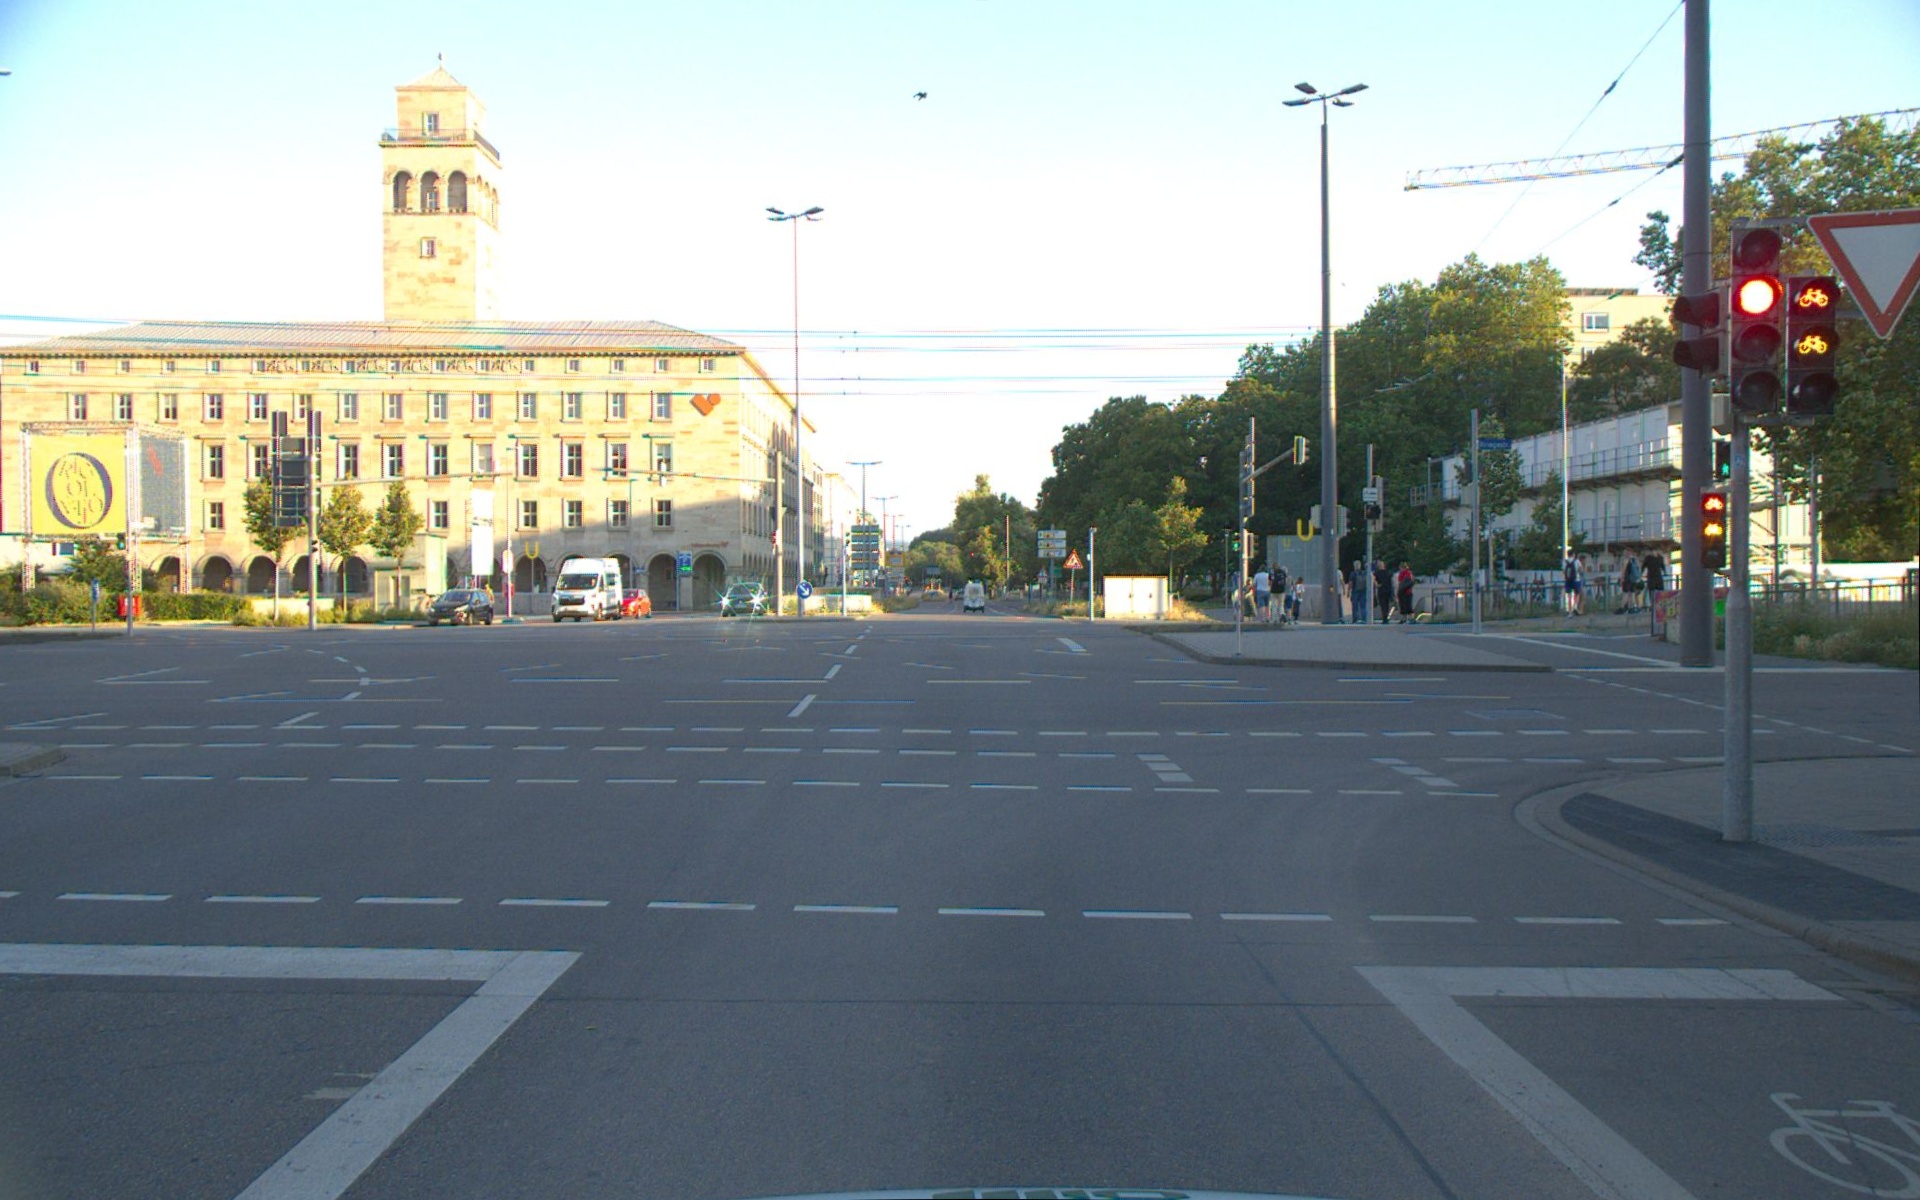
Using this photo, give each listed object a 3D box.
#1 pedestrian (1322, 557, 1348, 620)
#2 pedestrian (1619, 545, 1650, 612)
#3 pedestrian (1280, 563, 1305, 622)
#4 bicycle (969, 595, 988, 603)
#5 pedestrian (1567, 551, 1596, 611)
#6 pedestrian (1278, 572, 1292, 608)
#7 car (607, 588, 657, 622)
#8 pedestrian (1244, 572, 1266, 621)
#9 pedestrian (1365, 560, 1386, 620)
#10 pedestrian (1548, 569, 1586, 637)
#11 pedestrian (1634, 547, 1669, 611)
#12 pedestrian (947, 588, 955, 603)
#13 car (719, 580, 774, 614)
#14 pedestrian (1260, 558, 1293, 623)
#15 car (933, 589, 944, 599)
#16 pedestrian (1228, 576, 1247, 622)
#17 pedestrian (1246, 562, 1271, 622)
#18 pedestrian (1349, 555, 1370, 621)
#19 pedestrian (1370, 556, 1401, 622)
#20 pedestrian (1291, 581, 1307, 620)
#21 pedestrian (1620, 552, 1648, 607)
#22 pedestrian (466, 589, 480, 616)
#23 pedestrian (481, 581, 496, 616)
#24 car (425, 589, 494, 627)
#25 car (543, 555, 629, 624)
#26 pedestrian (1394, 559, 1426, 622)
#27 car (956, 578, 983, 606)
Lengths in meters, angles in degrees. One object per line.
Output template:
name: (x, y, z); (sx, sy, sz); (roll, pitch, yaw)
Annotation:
pedestrian: (10.667, -0.326, 47.047); (0.695, 1.755, 0.916); (0, 1, 13)
pedestrian: (17.782, -0.564, 43.607); (0.696, 1.755, 0.669); (0, 1, 16)
pedestrian: (9.937, -0.225, 49.451); (0.695, 1.755, 0.669); (0, 1, 13)
bicycle: (2.555, -0.113, 224.591); (2.558, 0.975, 0.512); (1, -1, -15)
pedestrian: (16.871, -0.508, 44.918); (0.559, 1.620, 0.536); (-1, 0, -1)
pedestrian: (17.130, -0.535, 87.244); (0.652, 1.874, 0.713); (0, 1, 4)
car: (-16.025, 0.221, 80.938); (1.703, 1.513, 4.000); (-1, 1, -1)
pedestrian: (10.810, -0.126, 60.641); (0.665, 1.788, 0.902); (0, 1, 20)
pedestrian: (11.965, -0.283, 47.604); (0.560, 1.708, 0.639); (0, 1, 13)
pedestrian: (15.886, 0.069, 43.293); (0.660, 1.755, 0.704); (-1, 1, -35)
pedestrian: (19.016, -0.572, 45.490); (0.696, 1.755, 0.668); (0, 1, 1)
pedestrian: (-1.008, -0.558, 194.482); (0.888, 1.700, 1.306); (-1, 1, -2)
car: (-9.310, -0.152, 72.505); (1.785, 1.365, 4.001); (0, 1, 1)
pedestrian: (8.591, -0.270, 44.881); (0.696, 1.755, 0.915); (0, 1, -2)
car: (-3.002, -0.873, 235.053); (1.343, 1.255, 3.042); (-1, 1, -5)
pedestrian: (10.219, -0.039, 60.862); (0.548, 1.683, 0.902); (0, 1, 20)
pedestrian: (8.944, -0.242, 49.513); (0.695, 1.755, 0.669); (0, 1, 13)
pedestrian: (11.191, -0.336, 46.312); (0.560, 1.822, 0.639); (0, 1, 13)
pedestrian: (11.861, -0.308, 46.119); (0.788, 1.822, 0.801); (0, 1, 13)
pedestrian: (12.613, 0.018, 61.504); (0.560, 1.463, 0.639); (0, 1, 11)
pedestrian: (18.059, -0.548, 44.315); (0.662, 1.466, 0.714); (0, 1, 21)
pedestrian: (-24.988, 0.129, 84.867); (0.496, 1.323, 0.700); (1, -1, -6)
pedestrian: (-24.398, -0.065, 85.607); (0.609, 1.774, 0.459); (1, -1, -6)
car: (-21.132, 0.331, 69.957); (1.786, 1.491, 4.156); (-1, 1, -2)
car: (-16.247, -0.480, 72.234); (2.232, 2.824, 6.085); (-1, 1, 1)
pedestrian: (12.641, -0.265, 46.493); (0.826, 1.764, 0.706); (0, 1, 11)
car: (0.582, -0.506, 102.437); (1.453, 1.725, 2.972); (-1, 1, -3)
